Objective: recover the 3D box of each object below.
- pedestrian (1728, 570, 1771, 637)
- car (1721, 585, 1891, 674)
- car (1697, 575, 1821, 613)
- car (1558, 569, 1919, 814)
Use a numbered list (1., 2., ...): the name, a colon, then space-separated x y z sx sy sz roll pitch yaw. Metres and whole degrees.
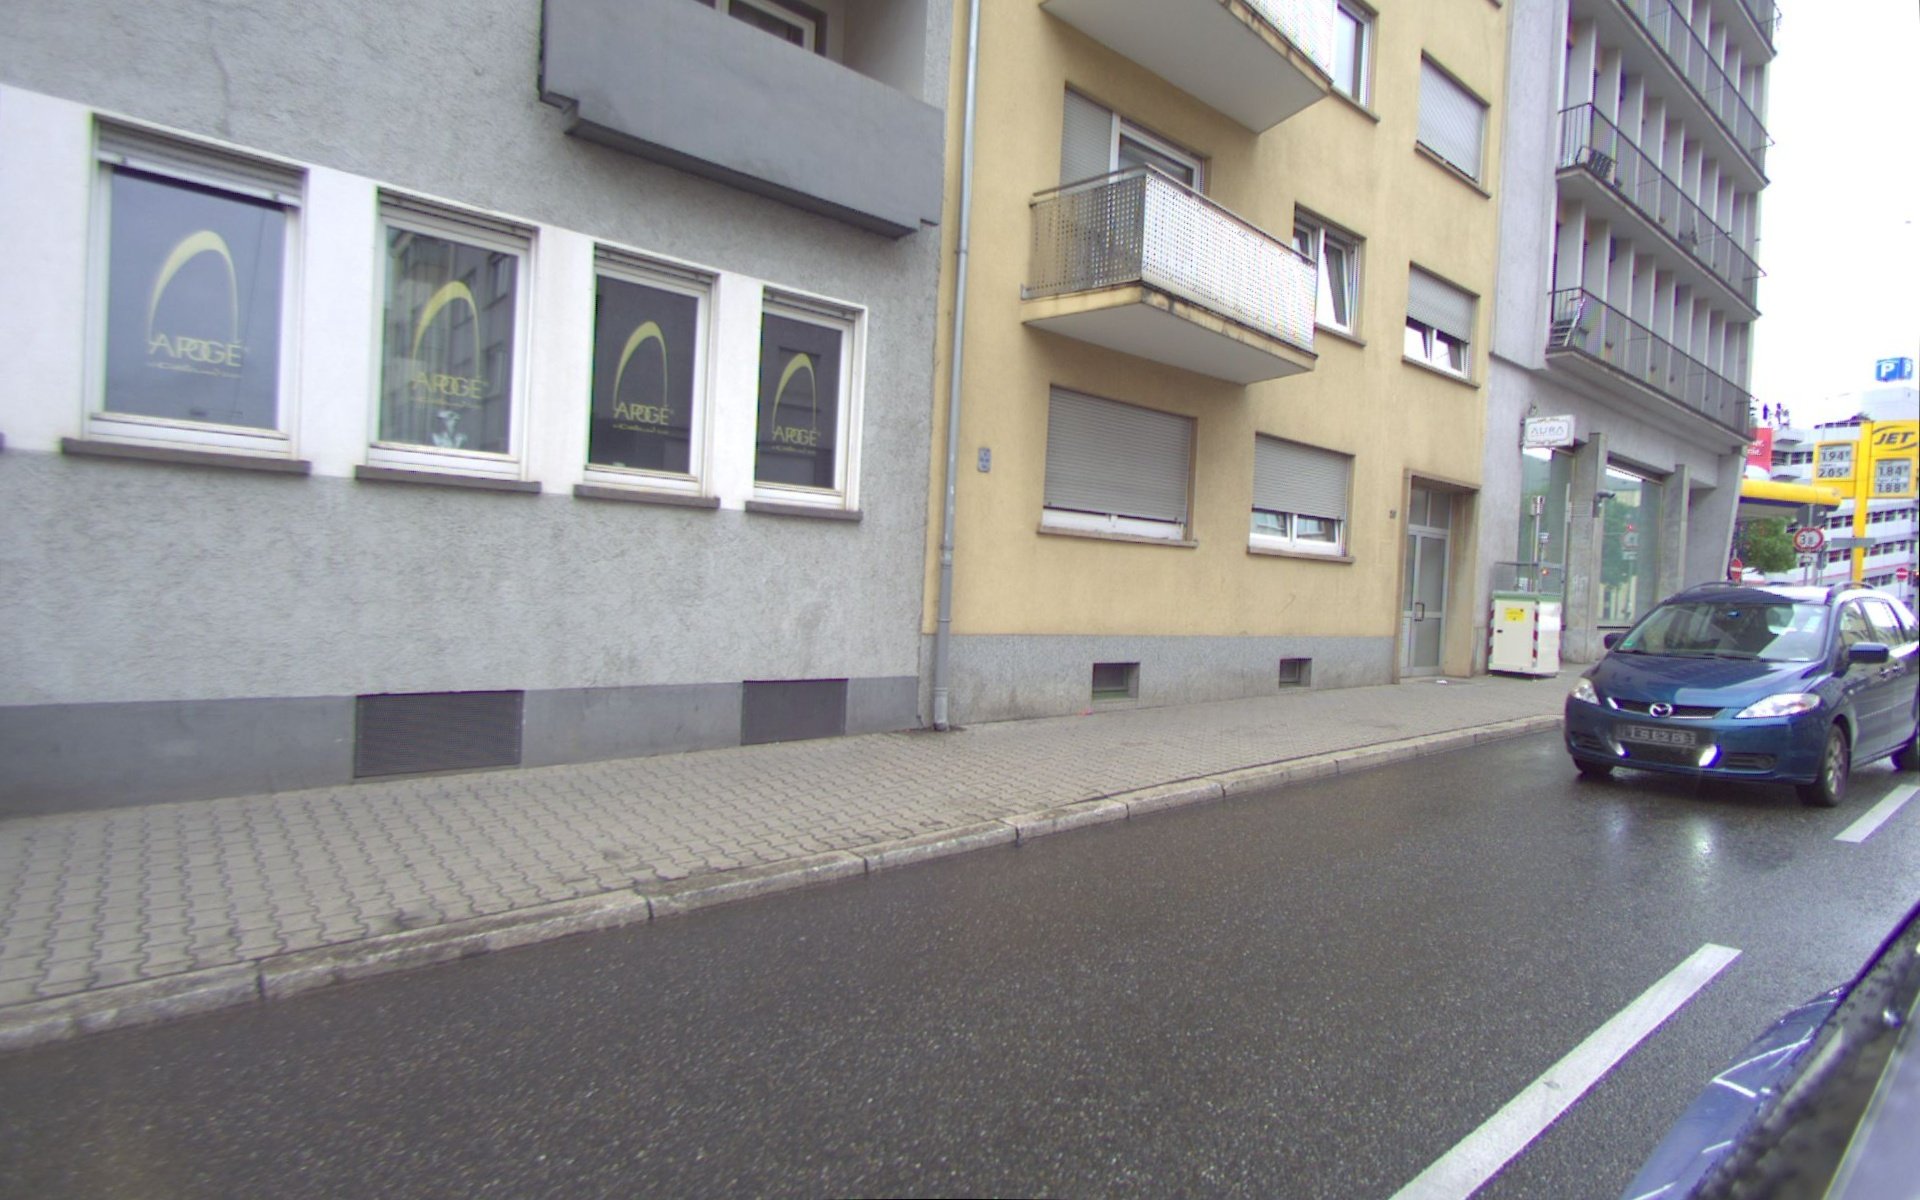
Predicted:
1. pedestrian: 21.764 0.091 27.892 0.872 1.777 0.679 1 2 -39
2. car: 16.410 0.505 19.560 4.092 1.453 1.803 0 3 -40
3. car: 32.878 -0.216 41.797 1.737 1.493 4.003 0 0 -5
4. car: 6.991 0.595 8.718 4.135 1.626 1.812 0 0 -39
